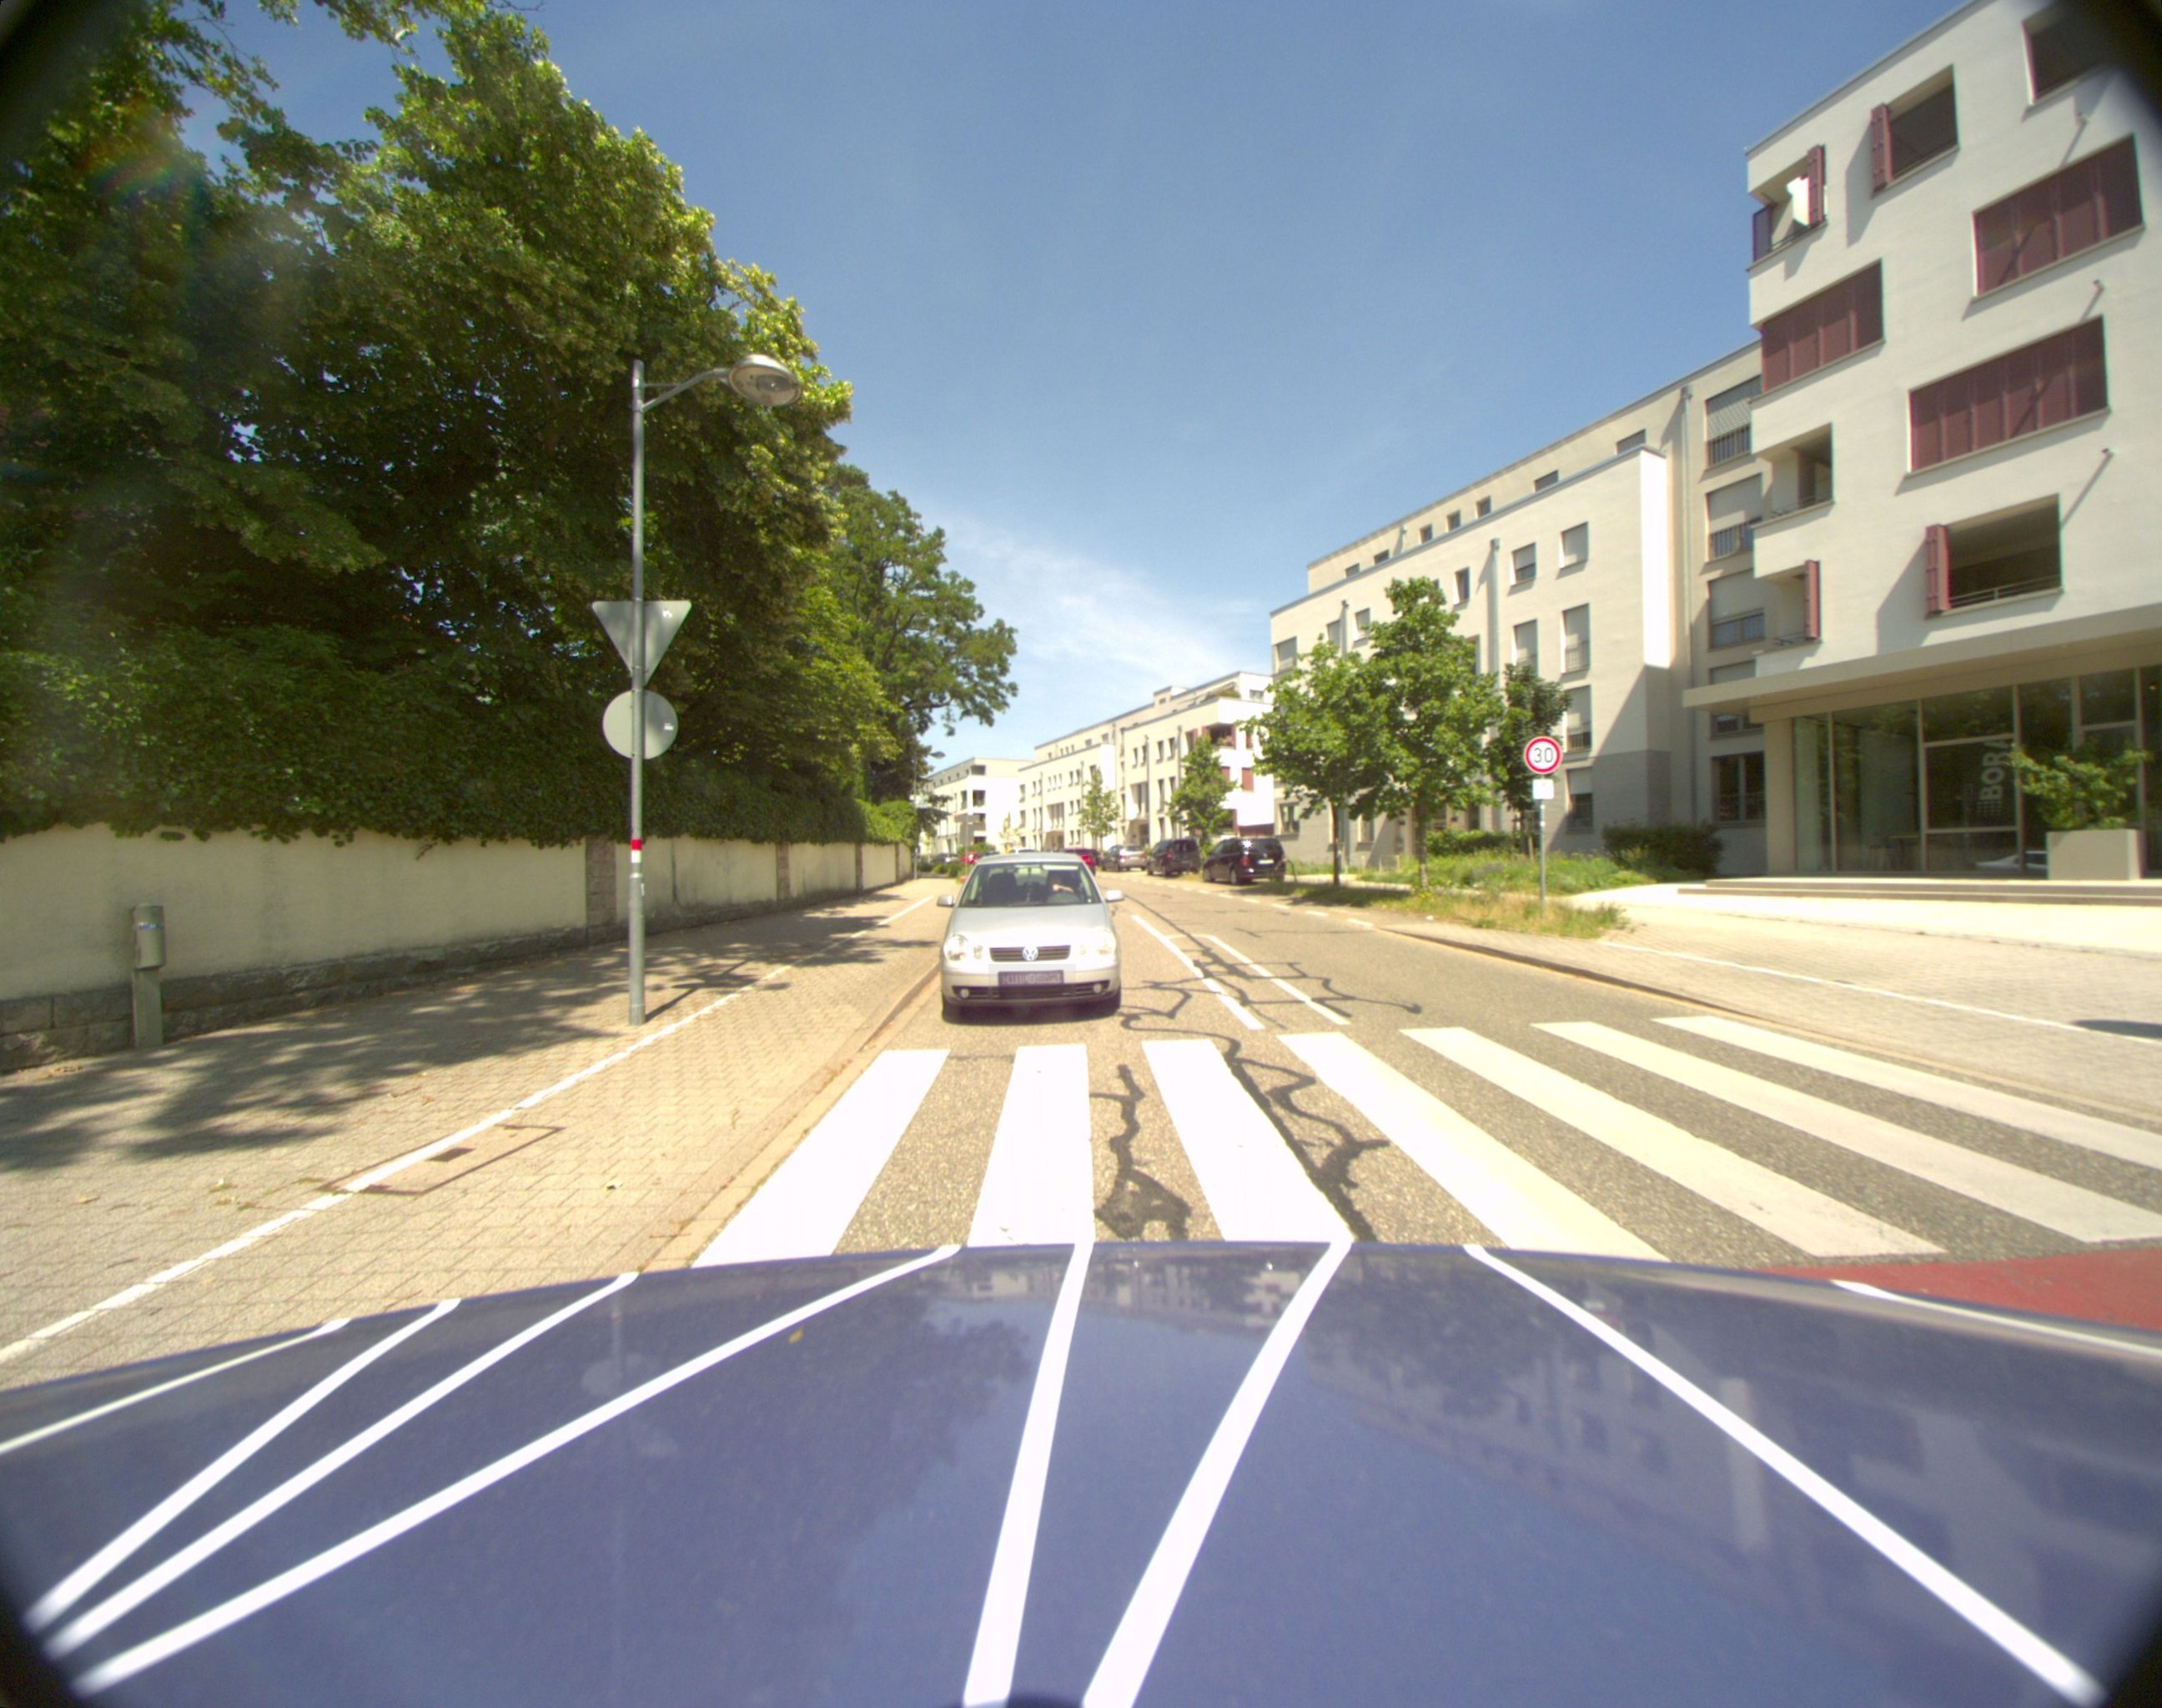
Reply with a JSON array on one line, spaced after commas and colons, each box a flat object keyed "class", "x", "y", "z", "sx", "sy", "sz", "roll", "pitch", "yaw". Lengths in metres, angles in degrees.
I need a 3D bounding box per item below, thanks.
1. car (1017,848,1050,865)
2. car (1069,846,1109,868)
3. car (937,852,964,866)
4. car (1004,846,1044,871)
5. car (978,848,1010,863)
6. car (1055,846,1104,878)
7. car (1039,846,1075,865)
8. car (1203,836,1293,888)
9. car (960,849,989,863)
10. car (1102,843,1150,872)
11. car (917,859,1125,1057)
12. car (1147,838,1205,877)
[{"class": "car", "x": -4.121, "y": 0.177, "z": 65.167, "sx": 1.709, "sy": 1.405, "sz": 3.714, "roll": -2, "pitch": 1, "yaw": -21}, {"class": "car", "x": 0.509, "y": 0.167, "z": 51.919, "sx": 1.708, "sy": 1.405, "sz": 3.622, "roll": -2, "pitch": 1, "yaw": -16}, {"class": "car", "x": -14.473, "y": 0.557, "z": 84.132, "sx": 1.710, "sy": 1.405, "sz": 3.712, "roll": -2, "pitch": 1, "yaw": -31}, {"class": "car", "x": -4.023, "y": 0.270, "z": 52.746, "sx": 1.818, "sy": 1.599, "sz": 4.113, "roll": -2, "pitch": 1, "yaw": -18}, {"class": "car", "x": -8.445, "y": 0.163, "z": 73.821, "sx": 1.710, "sy": 1.405, "sz": 3.712, "roll": -2, "pitch": 1, "yaw": -31}, {"class": "car", "x": -0.126, "y": 0.383, "z": 38.696, "sx": 1.757, "sy": 1.496, "sz": 3.988, "roll": -2, "pitch": 1, "yaw": -11}, {"class": "car", "x": -1.891, "y": 0.111, "z": 58.848, "sx": 1.708, "sy": 1.405, "sz": 3.715, "roll": -2, "pitch": 1, "yaw": -19}, {"class": "car", "x": 5.734, "y": 0.229, "z": 26.597, "sx": 1.700, "sy": 1.628, "sz": 4.017, "roll": -2, "pitch": 1, "yaw": -9}, {"class": "car", "x": -11.061, "y": 0.179, "z": 78.646, "sx": 1.710, "sy": 1.405, "sz": 3.712, "roll": -2, "pitch": 1, "yaw": -31}, {"class": "car", "x": 2.589, "y": 0.160, "z": 44.639, "sx": 1.792, "sy": 1.581, "sz": 3.622, "roll": -2, "pitch": 1, "yaw": -14}, {"class": "car", "x": -0.502, "y": 0.843, "z": 8.039, "sx": 1.607, "sy": 1.443, "sz": 3.999, "roll": -2, "pitch": 1, "yaw": -1}, {"class": "car", "x": 4.363, "y": 0.137, "z": 35.355, "sx": 1.700, "sy": 1.690, "sz": 3.624, "roll": -2, "pitch": 1, "yaw": -9}]
